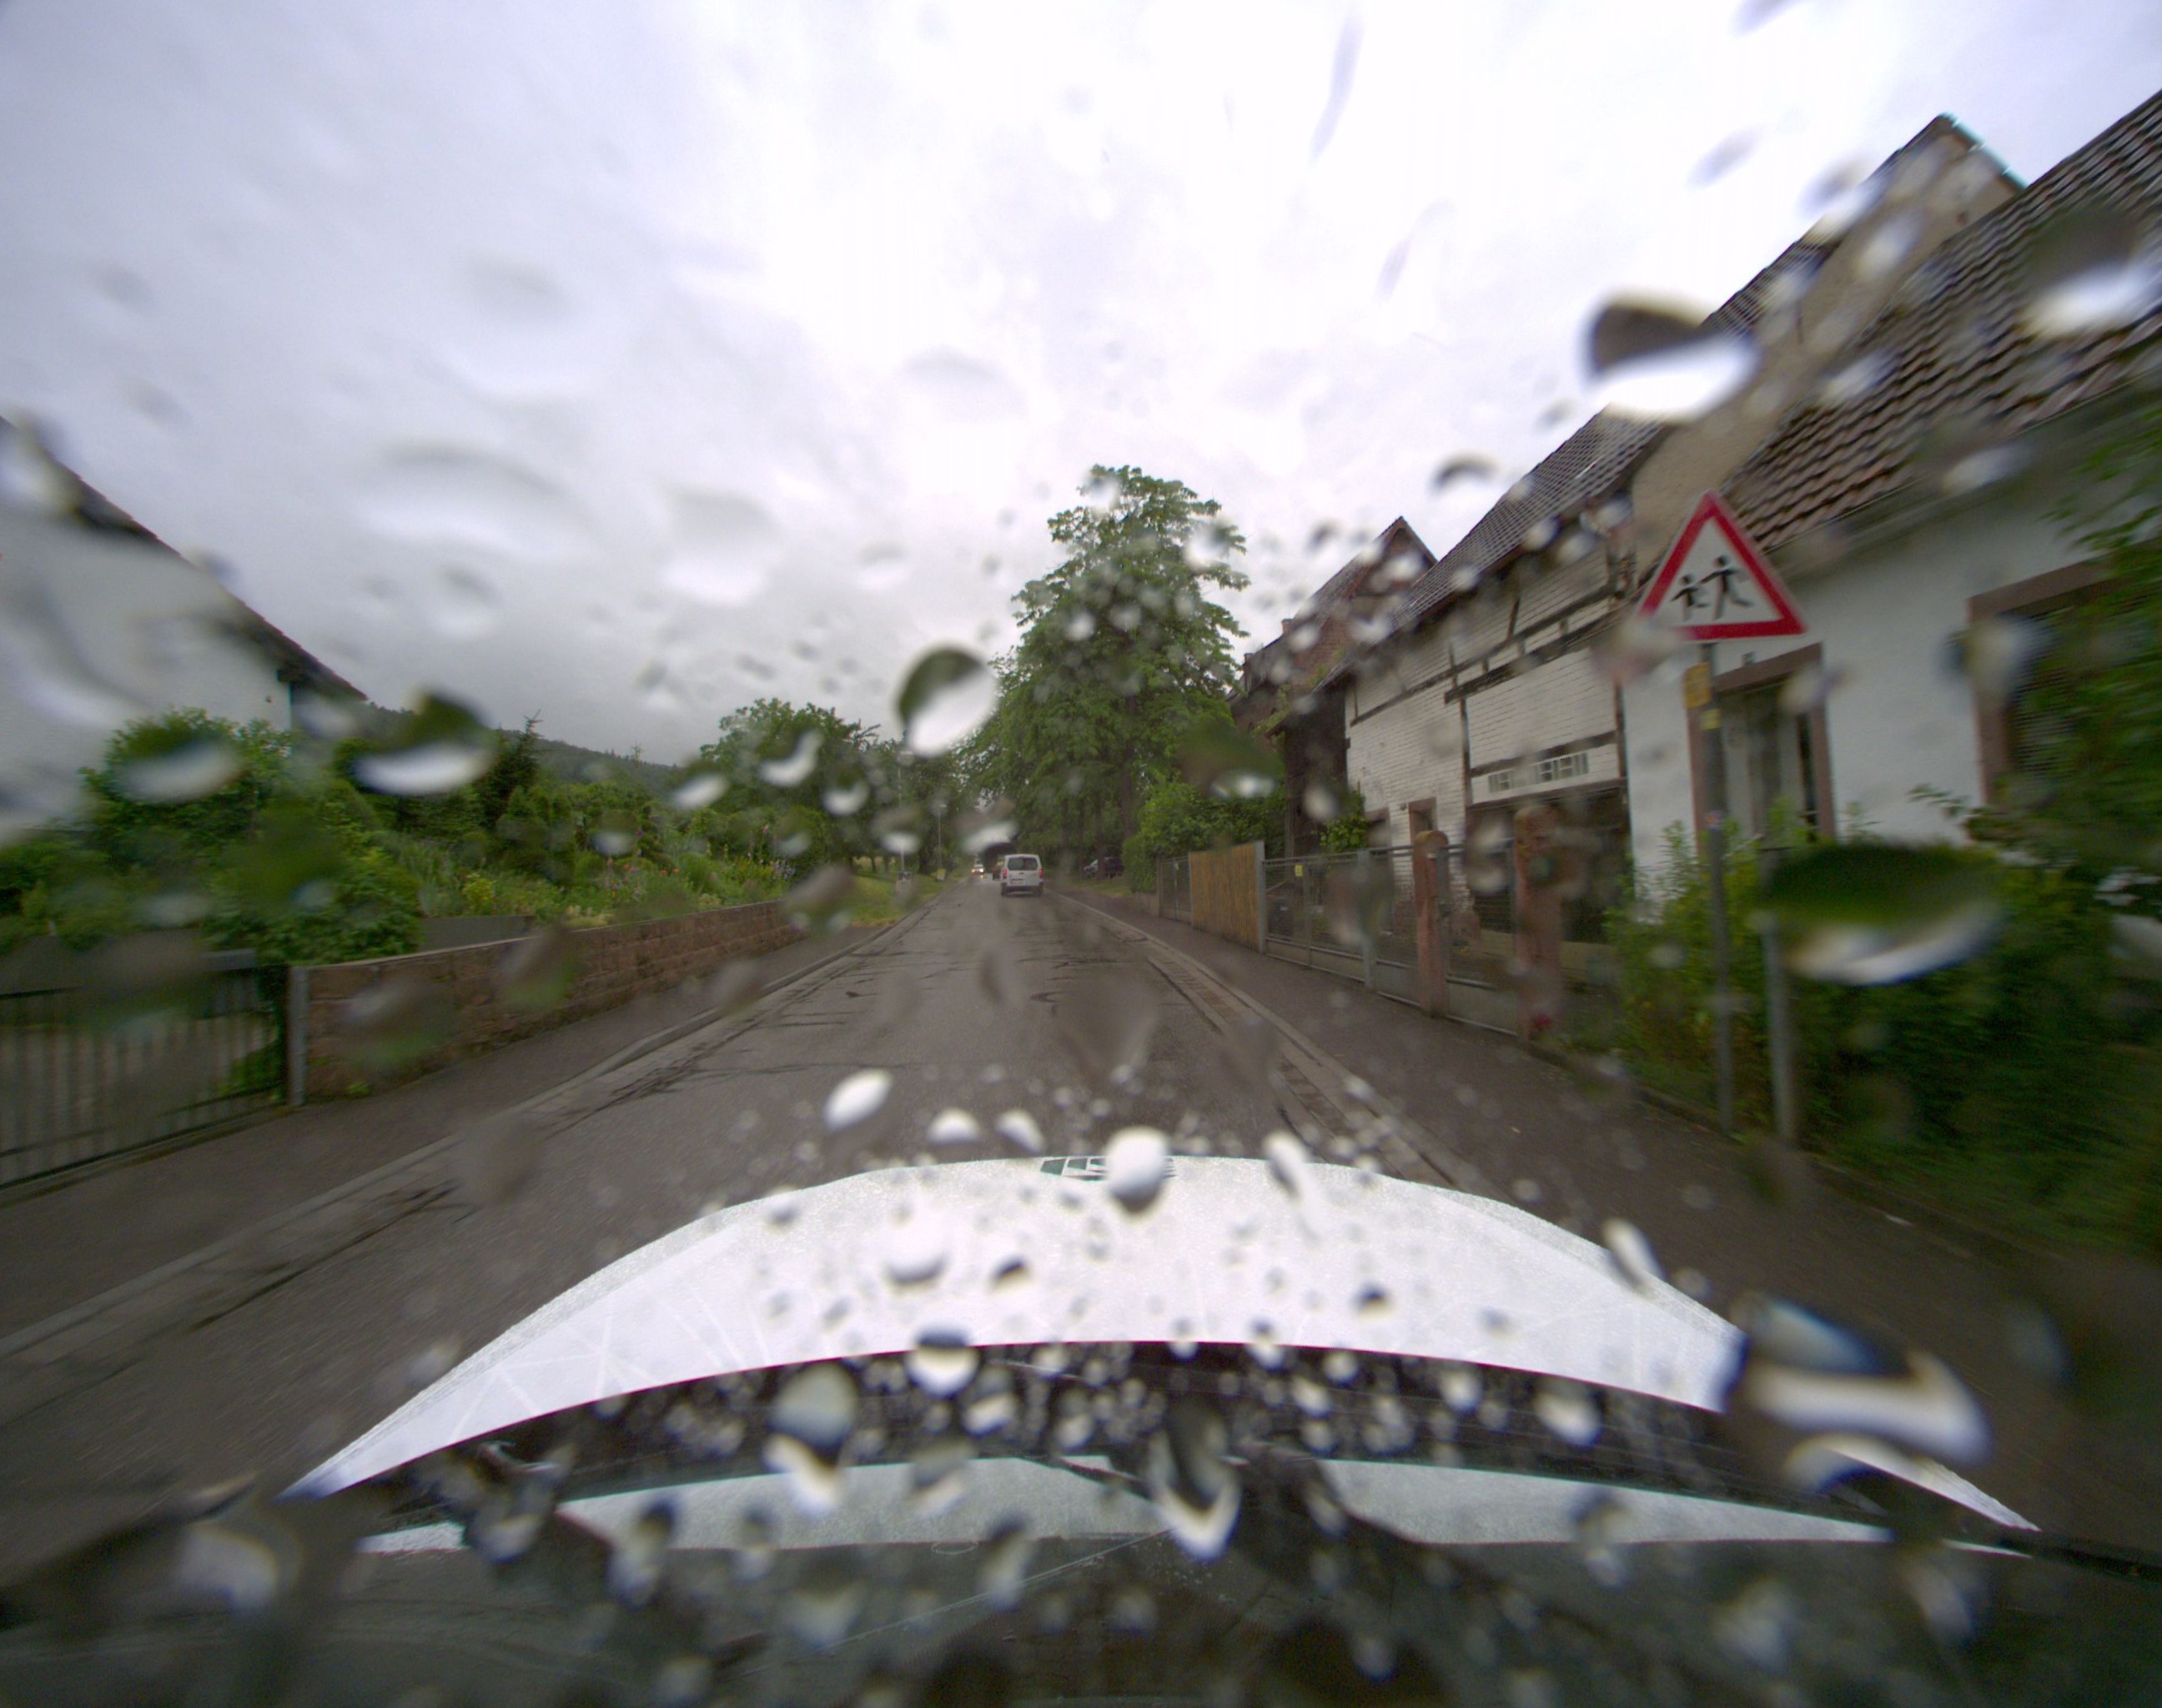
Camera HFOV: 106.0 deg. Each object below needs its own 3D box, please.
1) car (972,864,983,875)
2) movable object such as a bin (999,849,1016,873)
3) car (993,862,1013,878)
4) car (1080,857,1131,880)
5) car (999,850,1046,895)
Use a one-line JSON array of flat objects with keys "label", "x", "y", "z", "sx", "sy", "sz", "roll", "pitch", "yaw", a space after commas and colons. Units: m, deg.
[{"label": "car", "x": -17.784, "y": 2.682, "z": 139.256, "sx": 1.822, "sy": 1.832, "sz": 4.295, "roll": -1, "pitch": -1, "yaw": -8}, {"label": "movable object such as a bin", "x": -8.050, "y": 0.831, "z": 89.419, "sx": 1.758, "sy": 2.548, "sz": 4.232, "roll": -1, "pitch": -1, "yaw": -4}, {"label": "car", "x": -7.403, "y": 1.534, "z": 77.588, "sx": 1.705, "sy": 1.377, "sz": 3.994, "roll": -1, "pitch": -1, "yaw": -4}, {"label": "car", "x": 1.819, "y": 1.081, "z": 60.046, "sx": 3.633, "sy": 1.551, "sz": 1.602, "roll": -1, "pitch": -2, "yaw": -43}, {"label": "car", "x": -2.643, "y": 0.790, "z": 36.224, "sx": 1.894, "sy": 1.807, "sz": 3.992, "roll": -2, "pitch": 0, "yaw": -6}]
